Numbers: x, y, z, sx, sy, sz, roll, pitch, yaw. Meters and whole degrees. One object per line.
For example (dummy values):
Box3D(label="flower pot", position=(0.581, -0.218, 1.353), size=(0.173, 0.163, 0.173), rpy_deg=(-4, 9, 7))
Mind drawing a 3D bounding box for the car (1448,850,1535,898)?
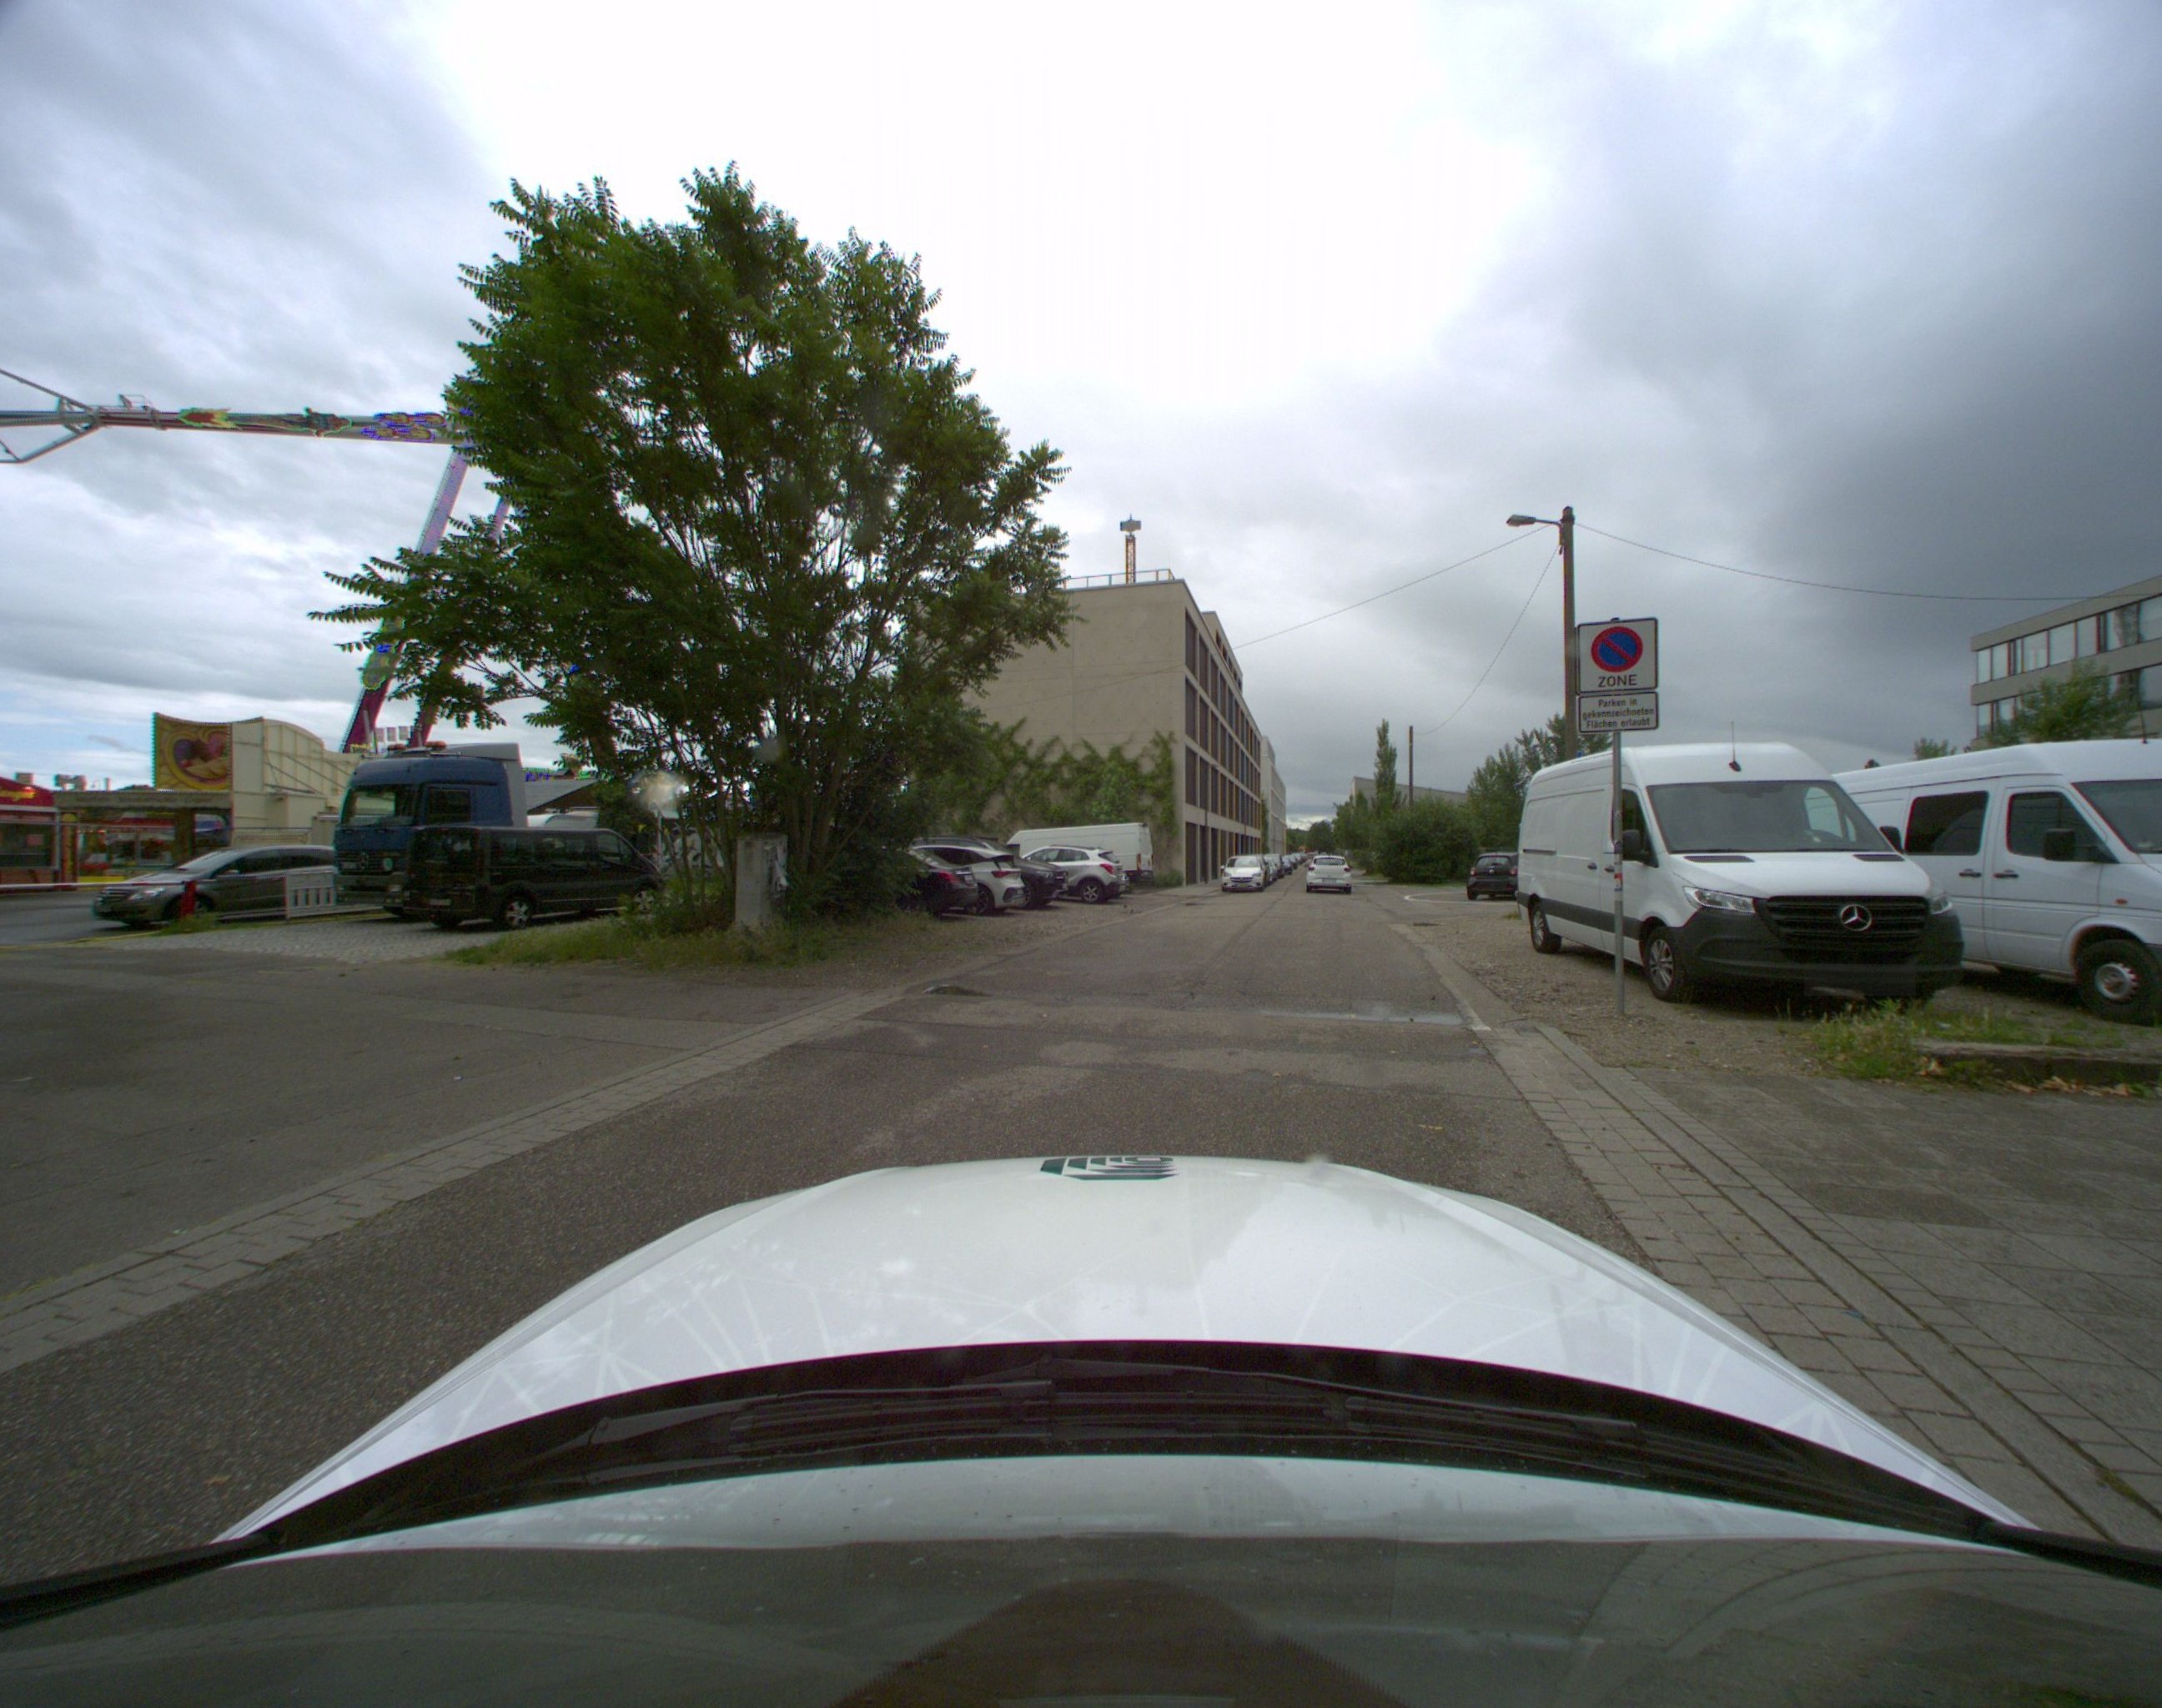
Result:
Box3D(label="car", position=(13.740, 0.623, 27.478), size=(1.871, 1.453, 4.017), rpy_deg=(-1, 0, 15))

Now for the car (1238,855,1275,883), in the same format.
Box3D(label="car", position=(9.687, 0.783, 44.783), size=(1.872, 1.453, 4.015), rpy_deg=(-1, 0, 14))

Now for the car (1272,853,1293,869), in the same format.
Box3D(label="car", position=(19.584, 0.680, 79.177), size=(1.872, 1.453, 4.015), rpy_deg=(-1, 0, 14))

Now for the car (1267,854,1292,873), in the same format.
Box3D(label="car", position=(16.355, 0.780, 67.055), size=(1.872, 1.453, 4.015), rpy_deg=(-1, 0, 14))

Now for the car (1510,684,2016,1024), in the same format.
Box3D(label="car", position=(6.797, -0.010, 9.302), size=(2.077, 2.555, 6.068), rpy_deg=(-1, 0, 15))

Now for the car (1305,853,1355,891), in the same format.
Box3D(label="car", position=(10.239, 0.714, 33.672), size=(1.871, 1.453, 4.017), rpy_deg=(-1, 0, 15))

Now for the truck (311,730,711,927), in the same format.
Box3D(label="truck", position=(-13.145, -0.510, 20.052), size=(2.572, 3.822, 8.252), rpy_deg=(-1, 0, 15))

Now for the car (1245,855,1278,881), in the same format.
Box3D(label="car", position=(11.182, 0.834, 50.221), size=(1.872, 1.453, 4.015), rpy_deg=(-1, 0, 14))

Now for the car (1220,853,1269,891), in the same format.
Box3D(label="car", position=(7.010, 0.726, 34.633), size=(1.872, 1.453, 4.015), rpy_deg=(-1, 0, 14))

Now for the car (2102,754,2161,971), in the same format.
Box3D(label="car", position=(12.884, 0.047, 7.093), size=(2.146, 2.522, 5.831), rpy_deg=(0, -2, 19))

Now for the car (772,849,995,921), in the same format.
Box3D(label="car", position=(-3.976, 0.633, 16.661), size=(3.958, 1.350, 1.898), rpy_deg=(-1, -2, 14))

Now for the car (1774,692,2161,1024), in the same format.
Box3D(label="car", position=(9.950, 0.098, 8.400), size=(2.018, 2.536, 5.828), rpy_deg=(-1, -2, 16))

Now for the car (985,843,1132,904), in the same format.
Box3D(label="car", position=(-0.634, 0.548, 24.337), size=(3.958, 1.644, 1.899), rpy_deg=(1, 0, 14))

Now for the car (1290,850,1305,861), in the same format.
Box3D(label="car", position=(30.633, 0.246, 115.294), size=(1.872, 1.453, 4.015), rpy_deg=(-1, 0, 14))

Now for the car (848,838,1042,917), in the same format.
Box3D(label="car", position=(-3.117, 0.495, 18.930), size=(3.958, 1.644, 1.899), rpy_deg=(1, 0, 14))

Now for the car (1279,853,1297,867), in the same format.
Box3D(label="car", position=(22.813, 0.616, 89.722), size=(1.872, 1.453, 4.015), rpy_deg=(-1, 0, 14))

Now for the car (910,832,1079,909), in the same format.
Box3D(label="car", position=(-2.229, 0.390, 21.368), size=(3.958, 1.879, 1.899), rpy_deg=(0, 0, 15))

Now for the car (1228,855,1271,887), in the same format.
Box3D(label="car", position=(8.254, 0.783, 39.727), size=(1.872, 1.453, 4.015), rpy_deg=(-1, 0, 14))

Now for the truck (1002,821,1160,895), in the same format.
Box3D(label="truck", position=(-0.007, 0.094, 32.024), size=(5.790, 2.728, 2.065), rpy_deg=(1, 0, 19))

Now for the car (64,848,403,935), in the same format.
Box3D(label="car", position=(-17.749, 0.686, 17.439), size=(1.979, 1.575, 4.607), rpy_deg=(-1, 0, 15))

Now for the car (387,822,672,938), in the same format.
Box3D(label="car", position=(-10.911, 0.382, 16.639), size=(1.979, 2.013, 4.608), rpy_deg=(1, 2, 15))

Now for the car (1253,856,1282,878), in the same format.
Box3D(label="car", position=(12.899, 0.877, 56.224), size=(1.872, 1.453, 4.015), rpy_deg=(-1, 0, 14))
